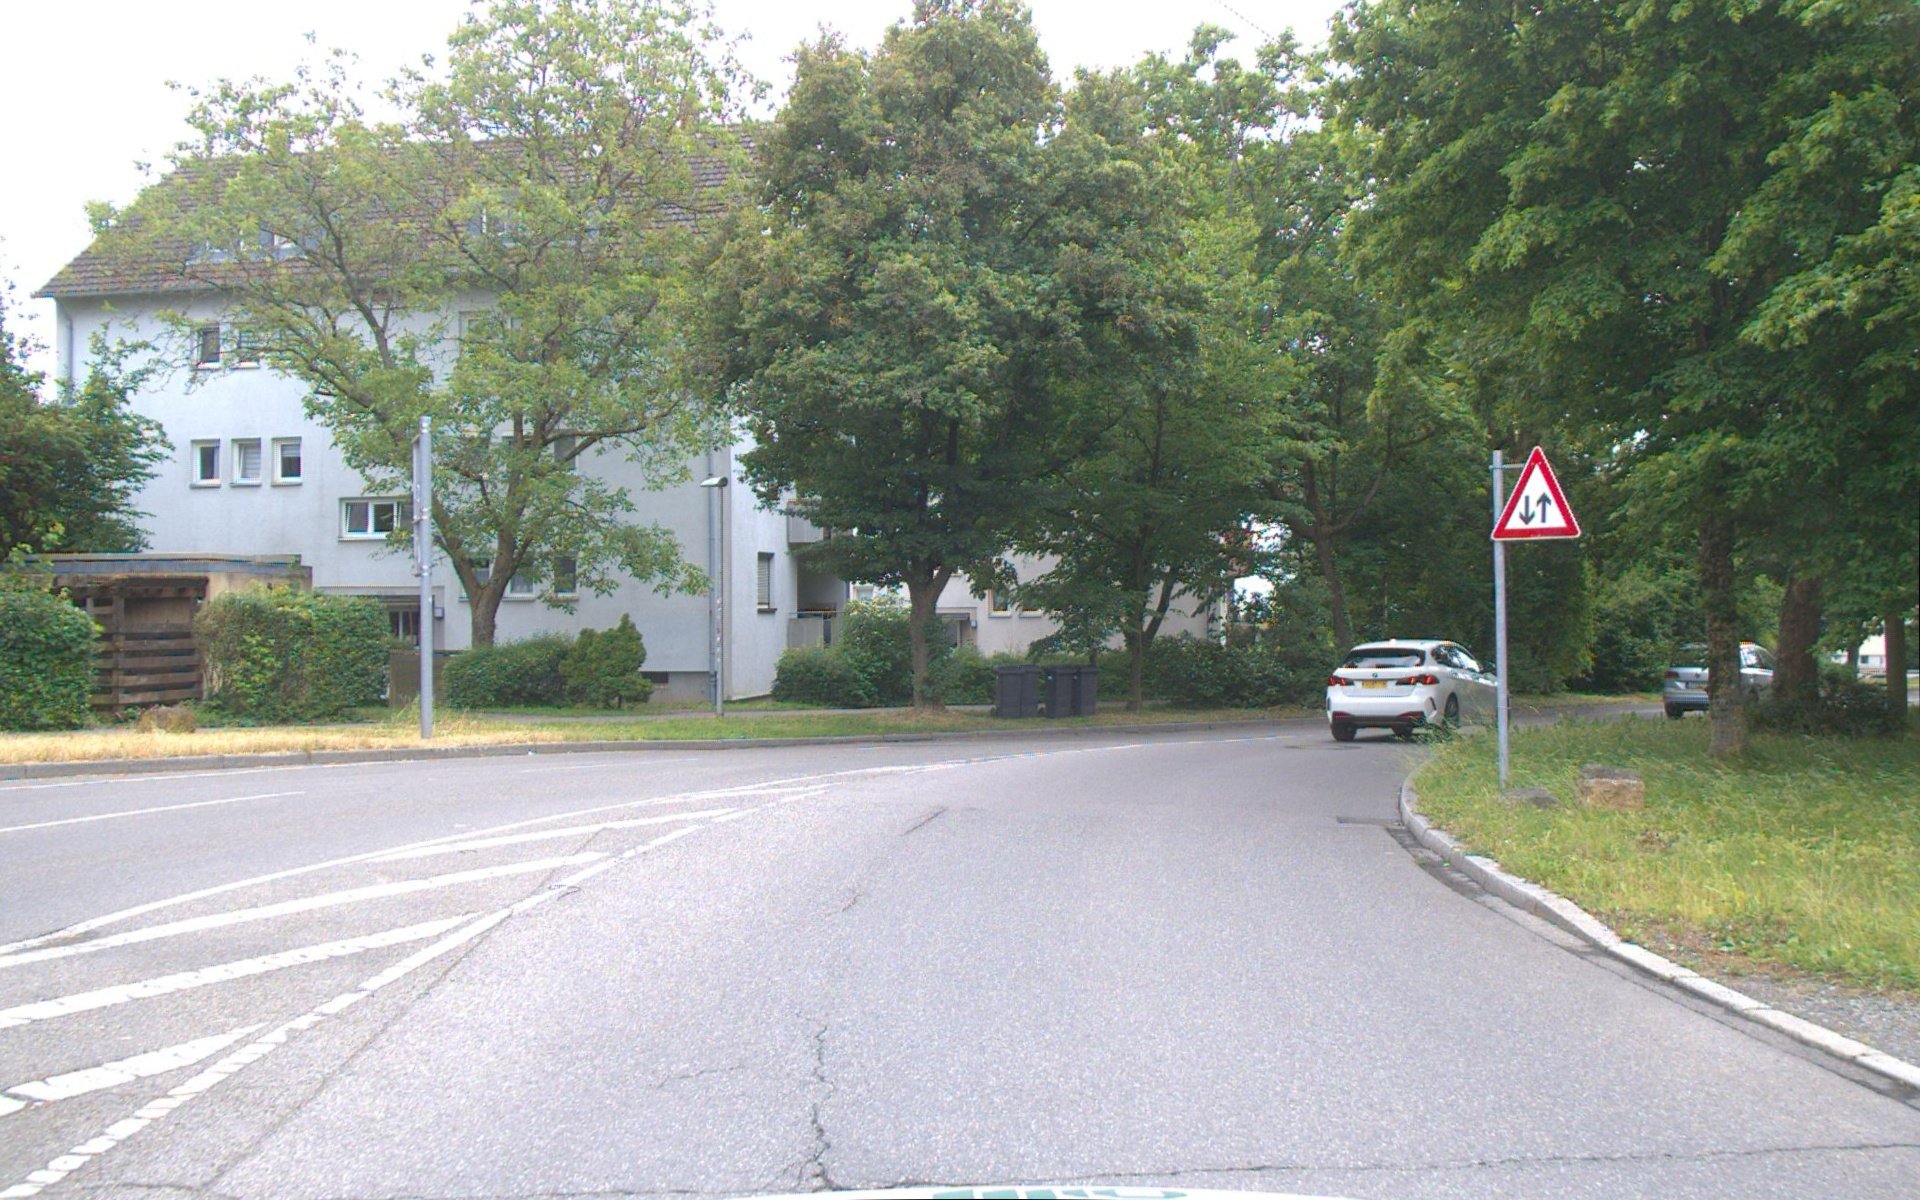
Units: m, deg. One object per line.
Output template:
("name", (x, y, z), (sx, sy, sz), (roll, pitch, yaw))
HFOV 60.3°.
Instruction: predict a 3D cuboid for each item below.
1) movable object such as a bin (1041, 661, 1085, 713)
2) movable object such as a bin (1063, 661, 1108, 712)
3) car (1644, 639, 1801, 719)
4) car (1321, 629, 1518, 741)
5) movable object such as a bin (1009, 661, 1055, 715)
("movable object such as a bin", (1.831, 1.535, 29.395), (0.568, 0.881, 0.596), (2, 0, -23))
("movable object such as a bin", (2.250, 1.549, 29.640), (0.568, 0.859, 0.596), (2, 0, -23))
("car", (16.352, 1.672, 35.391), (1.896, 1.602, 3.973), (-2, -3, 43))
("car", (7.061, 1.273, 25.127), (1.763, 1.544, 4.195), (0, -3, 32))
("movable object such as a bin", (1.271, 1.549, 29.172), (0.583, 0.894, 0.616), (2, 0, -23))
